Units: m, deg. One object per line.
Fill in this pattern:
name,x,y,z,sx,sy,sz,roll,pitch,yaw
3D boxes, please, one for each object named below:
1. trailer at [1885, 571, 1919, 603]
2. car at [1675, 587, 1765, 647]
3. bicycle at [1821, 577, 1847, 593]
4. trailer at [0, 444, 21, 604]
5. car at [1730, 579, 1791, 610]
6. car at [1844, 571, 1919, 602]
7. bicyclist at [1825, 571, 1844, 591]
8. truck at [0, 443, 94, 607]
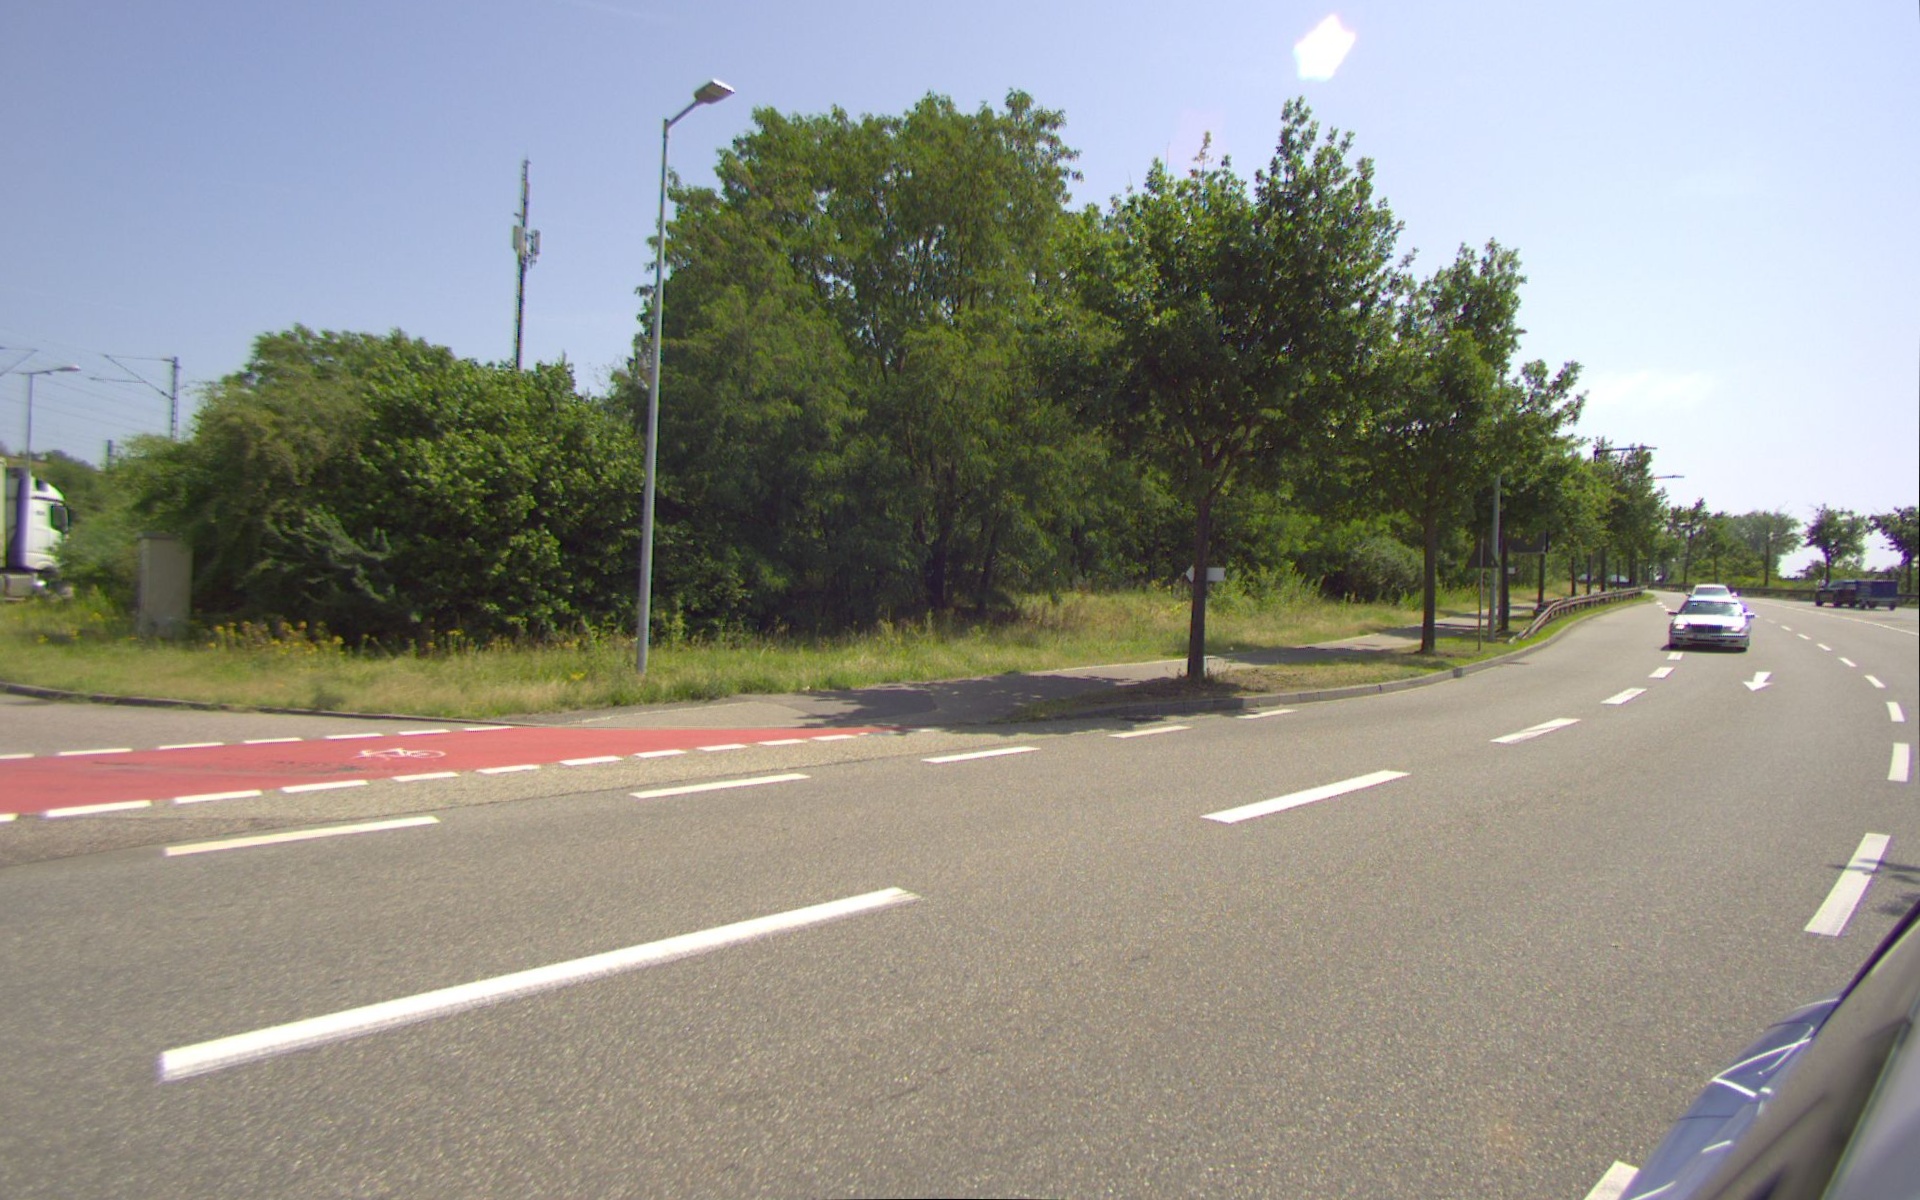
trailer,50.550,-0.666,53.411,1.492,1.635,3.283,1,1,22
car,21.280,0.409,28.279,1.757,1.518,4.171,1,1,40
bicycle,67.552,-1.162,78.218,0.728,1.129,2.033,5,4,20
trailer,-25.002,-1.819,22.604,3.027,4.422,14.791,2,2,-32
car,37.568,-0.271,47.589,1.987,1.387,4.179,1,1,35
car,51.951,-0.727,56.986,1.899,1.673,4.374,1,1,23
bicyclist,67.570,-1.476,78.202,0.723,1.483,0.818,5,4,22
truck,-28.275,-2.195,29.157,3.021,4.422,6.094,2,2,-20
